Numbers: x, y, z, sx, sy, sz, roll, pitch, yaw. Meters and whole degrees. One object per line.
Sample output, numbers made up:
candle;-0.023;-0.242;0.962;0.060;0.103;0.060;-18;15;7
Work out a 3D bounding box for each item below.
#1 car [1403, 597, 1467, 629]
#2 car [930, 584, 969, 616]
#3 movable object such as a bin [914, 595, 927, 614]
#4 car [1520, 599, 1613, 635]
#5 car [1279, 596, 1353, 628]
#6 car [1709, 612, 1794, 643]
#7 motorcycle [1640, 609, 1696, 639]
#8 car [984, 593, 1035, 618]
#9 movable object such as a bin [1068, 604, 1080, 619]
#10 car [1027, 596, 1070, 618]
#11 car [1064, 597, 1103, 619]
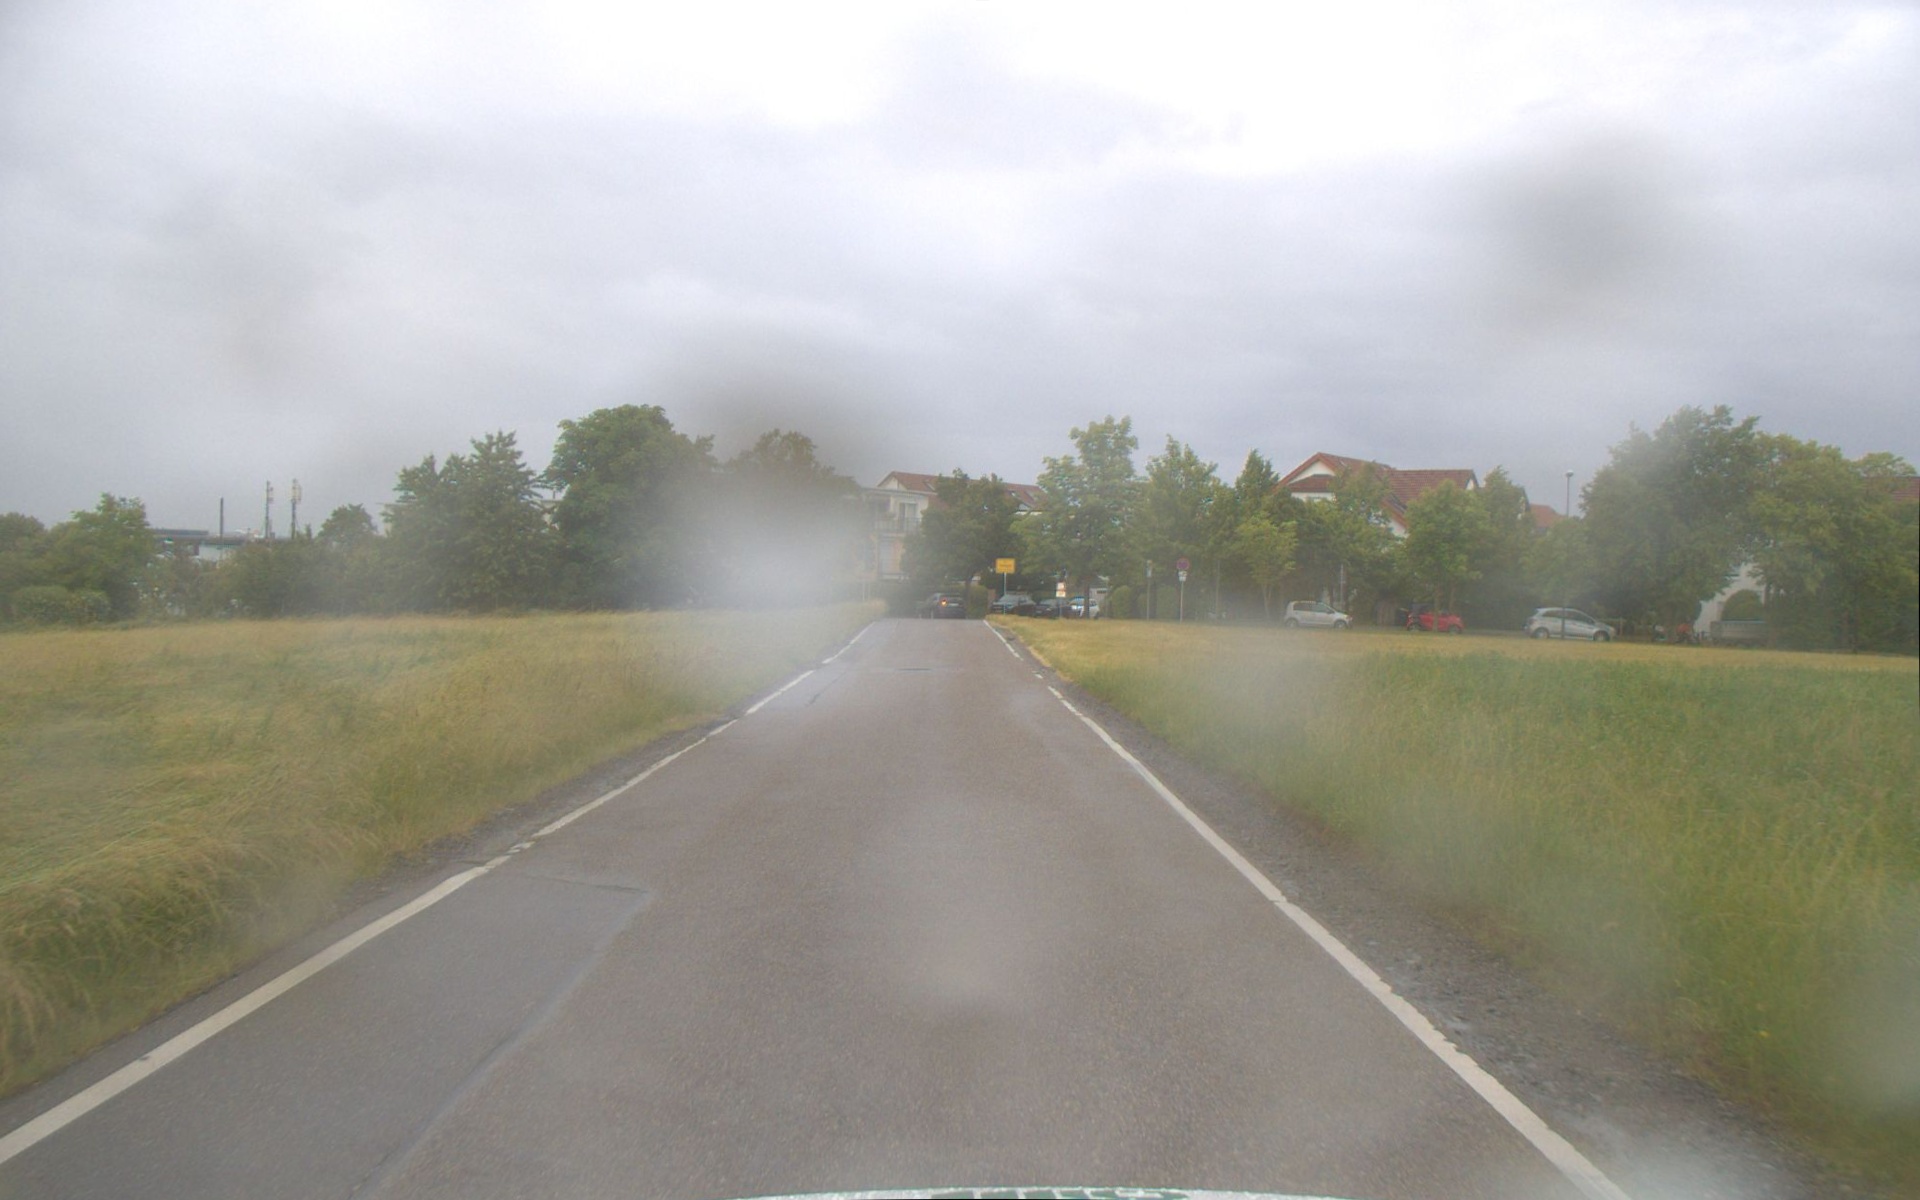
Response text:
car;23.228;0.653;80.850;2.939;1.461;1.554;2;-1;17
car;-0.558;0.032;85.186;1.654;1.579;3.691;1;-1;-6
movable object such as a bin;-2.400;0.269;99.911;0.651;1.092;0.544;1;0;21
car;29.104;0.804;79.483;3.892;1.579;1.853;2;0;12
car;17.744;0.614;82.349;3.468;1.505;1.680;1;-1;17
car;37.094;1.277;77.579;3.247;1.303;1.735;1;0;11
motorcycle;33.432;1.120;78.133;2.209;1.325;0.972;2;0;11
car;3.345;0.362;111.162;1.741;1.545;4.132;3;1;27
movable object such as a bin;7.132;0.710;103.568;0.560;0.947;0.528;1;-1;33
car;6.243;0.520;116.302;1.605;1.433;3.598;3;1;29
car;9.039;0.586;120.871;1.483;1.502;3.266;3;1;30
